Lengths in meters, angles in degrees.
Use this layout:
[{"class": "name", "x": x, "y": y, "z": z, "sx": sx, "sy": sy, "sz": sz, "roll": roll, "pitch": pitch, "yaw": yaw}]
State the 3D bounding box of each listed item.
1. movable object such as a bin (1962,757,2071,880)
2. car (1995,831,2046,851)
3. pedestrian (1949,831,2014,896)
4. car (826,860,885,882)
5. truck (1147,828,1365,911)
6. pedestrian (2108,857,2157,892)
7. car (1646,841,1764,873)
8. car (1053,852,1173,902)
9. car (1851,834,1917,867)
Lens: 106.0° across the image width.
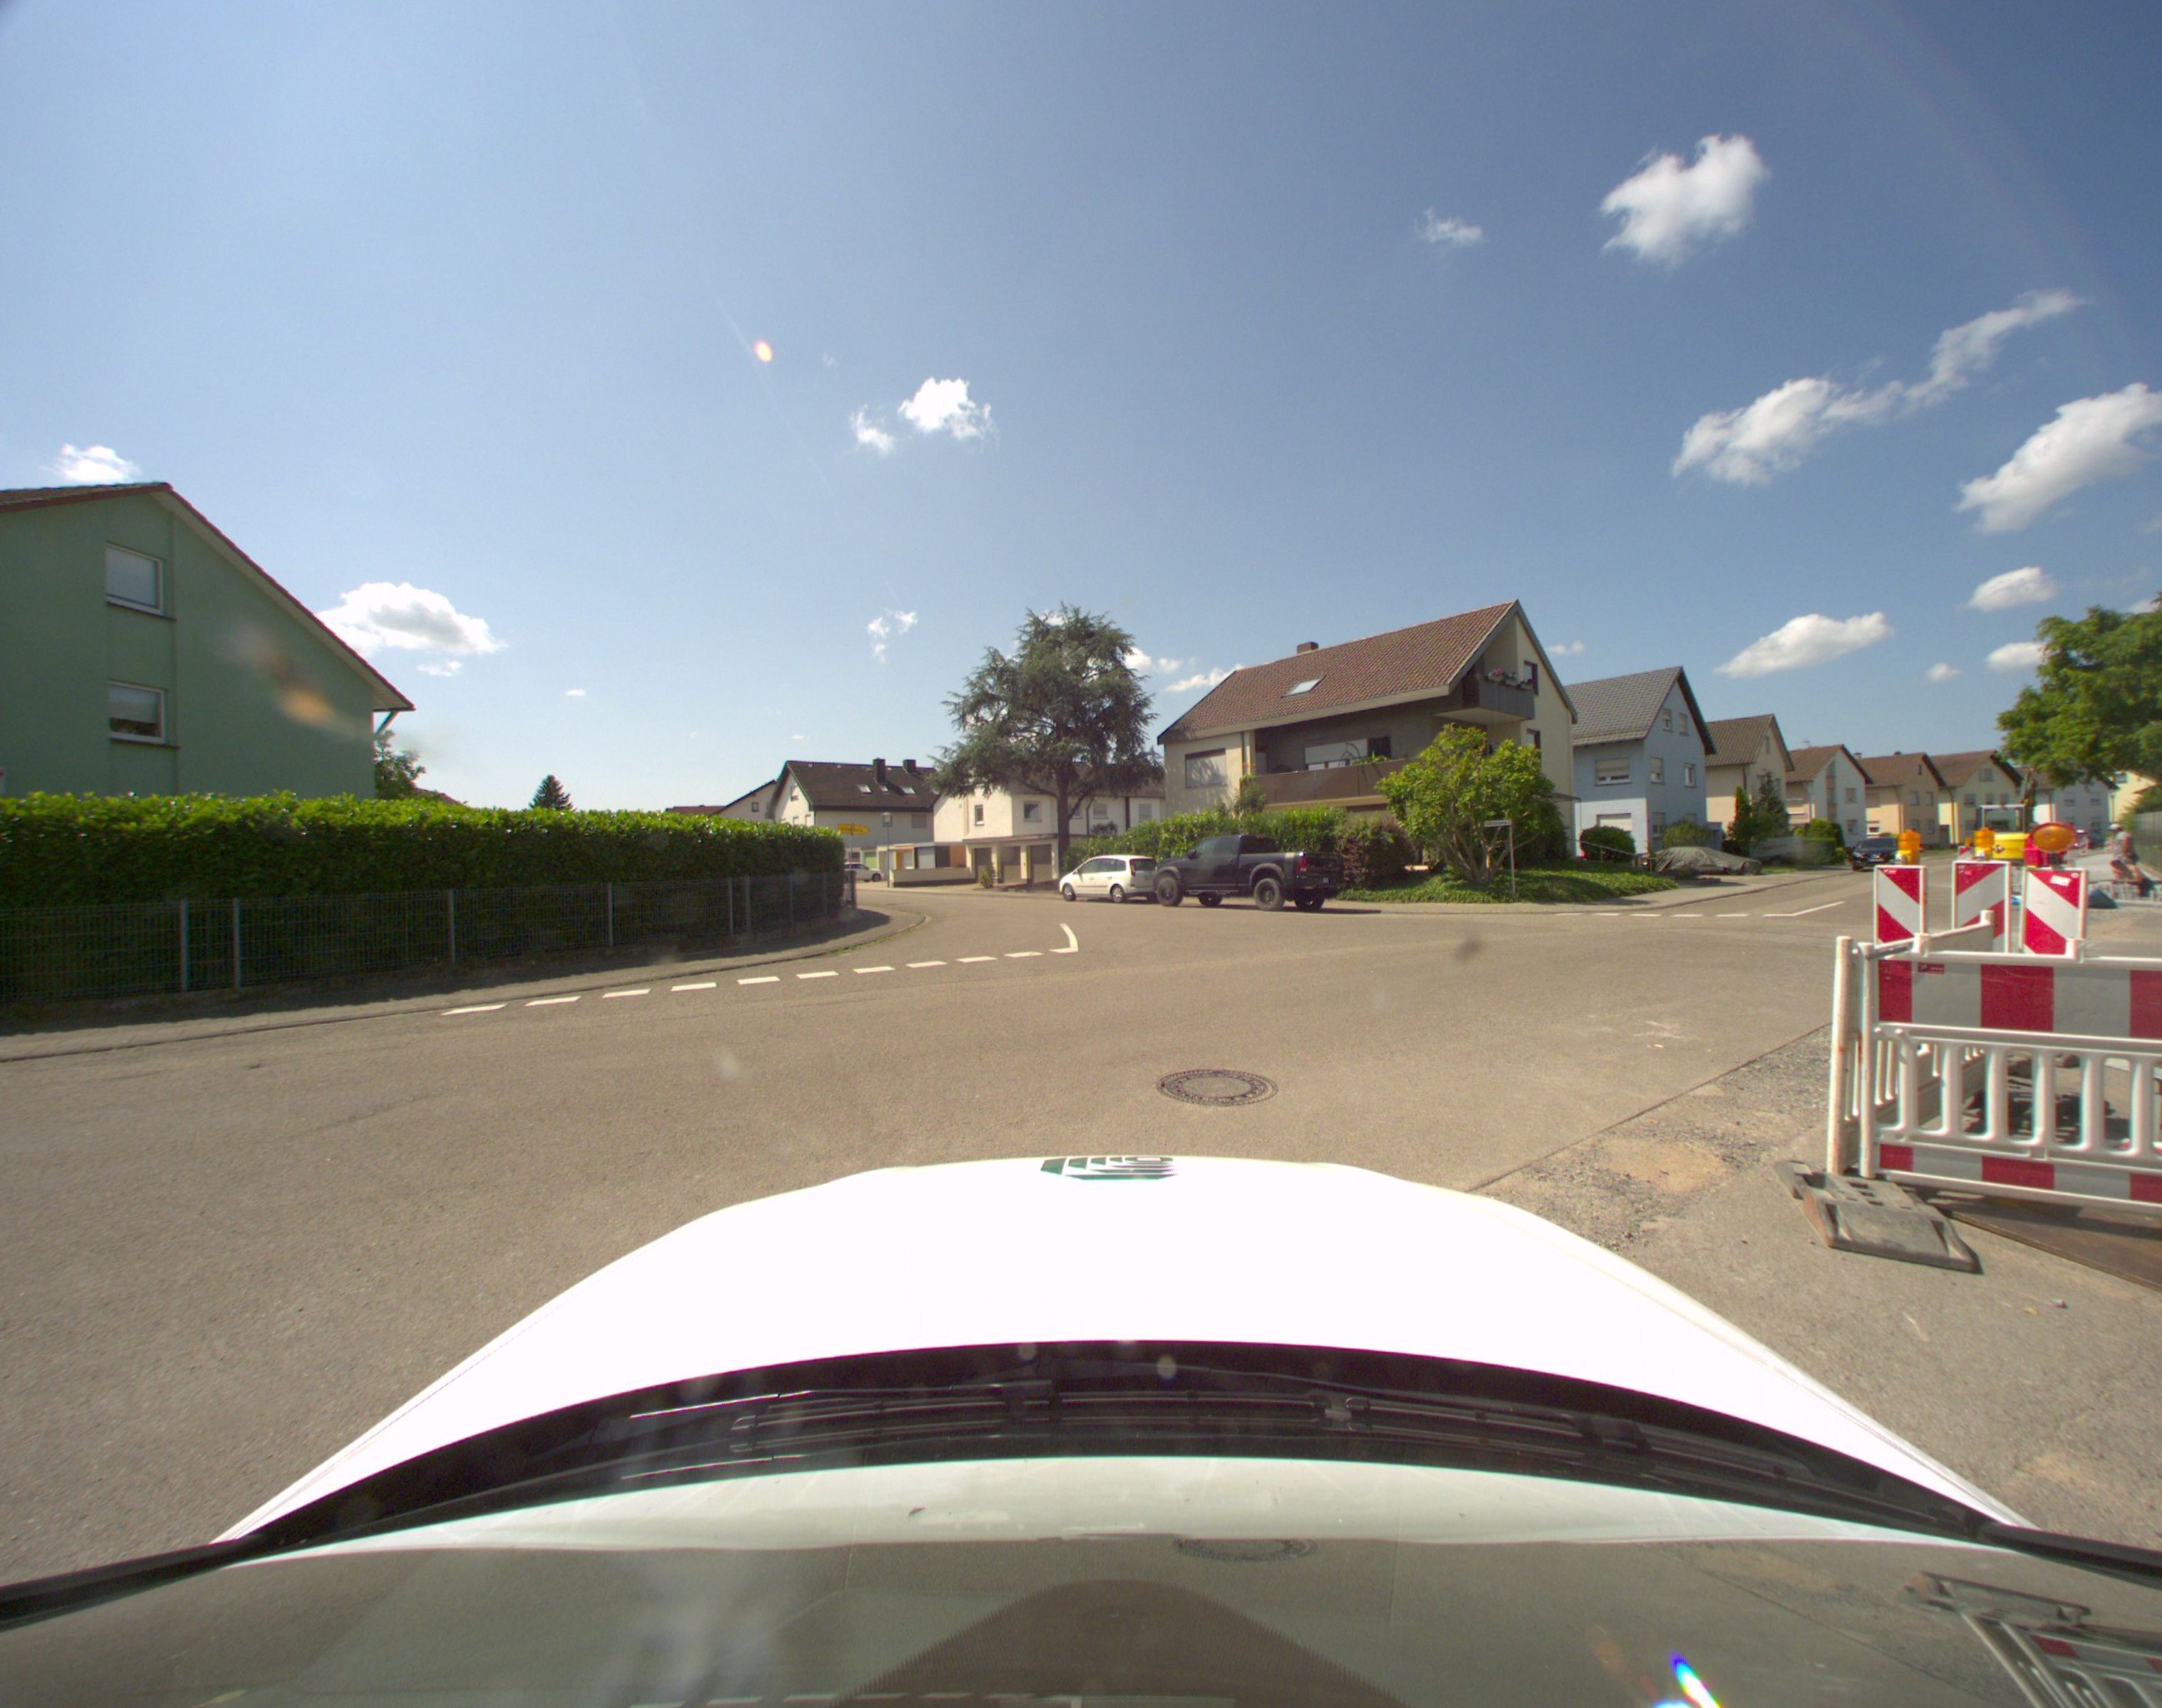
[{"class": "movable object such as a bin", "x": 29.214, "y": -1.046, "z": 25.399, "sx": 3.834, "sy": 3.565, "sz": 1.977, "roll": -1, "pitch": 0, "yaw": -38}, {"class": "car", "x": 83.428, "y": -1.167, "z": 72.320, "sx": 4.007, "sy": 1.650, "sz": 1.952, "roll": -2, "pitch": 0, "yaw": -25}, {"class": "pedestrian", "x": 21.671, "y": 0.227, "z": 19.610, "sx": 0.843, "sy": 1.514, "sz": 0.534, "roll": -2, "pitch": -1, "yaw": 10}, {"class": "car", "x": -15.810, "y": 1.202, "z": 57.140, "sx": 3.629, "sy": 1.408, "sz": 1.763, "roll": -2, "pitch": 0, "yaw": -38}, {"class": "truck", "x": 4.704, "y": 0.449, "z": 22.780, "sx": 2.384, "sy": 2.014, "sz": 5.644, "roll": 0, "pitch": -2, "yaw": -41}, {"class": "pedestrian", "x": 24.644, "y": 0.484, "z": 19.091, "sx": 0.517, "sy": 0.793, "sz": 0.433, "roll": -2, "pitch": -1, "yaw": 17}, {"class": "car", "x": 28.671, "y": 0.169, "z": 37.476, "sx": 2.010, "sy": 1.342, "sz": 3.953, "roll": -1, "pitch": 0, "yaw": -40}, {"class": "car", "x": 1.044, "y": 0.783, "z": 28.145, "sx": 1.813, "sy": 1.563, "sz": 4.094, "roll": -1, "pitch": 0, "yaw": -40}, {"class": "car", "x": 39.328, "y": -0.184, "z": 39.863, "sx": 4.021, "sy": 1.542, "sz": 1.897, "roll": -2, "pitch": 0, "yaw": -40}]
